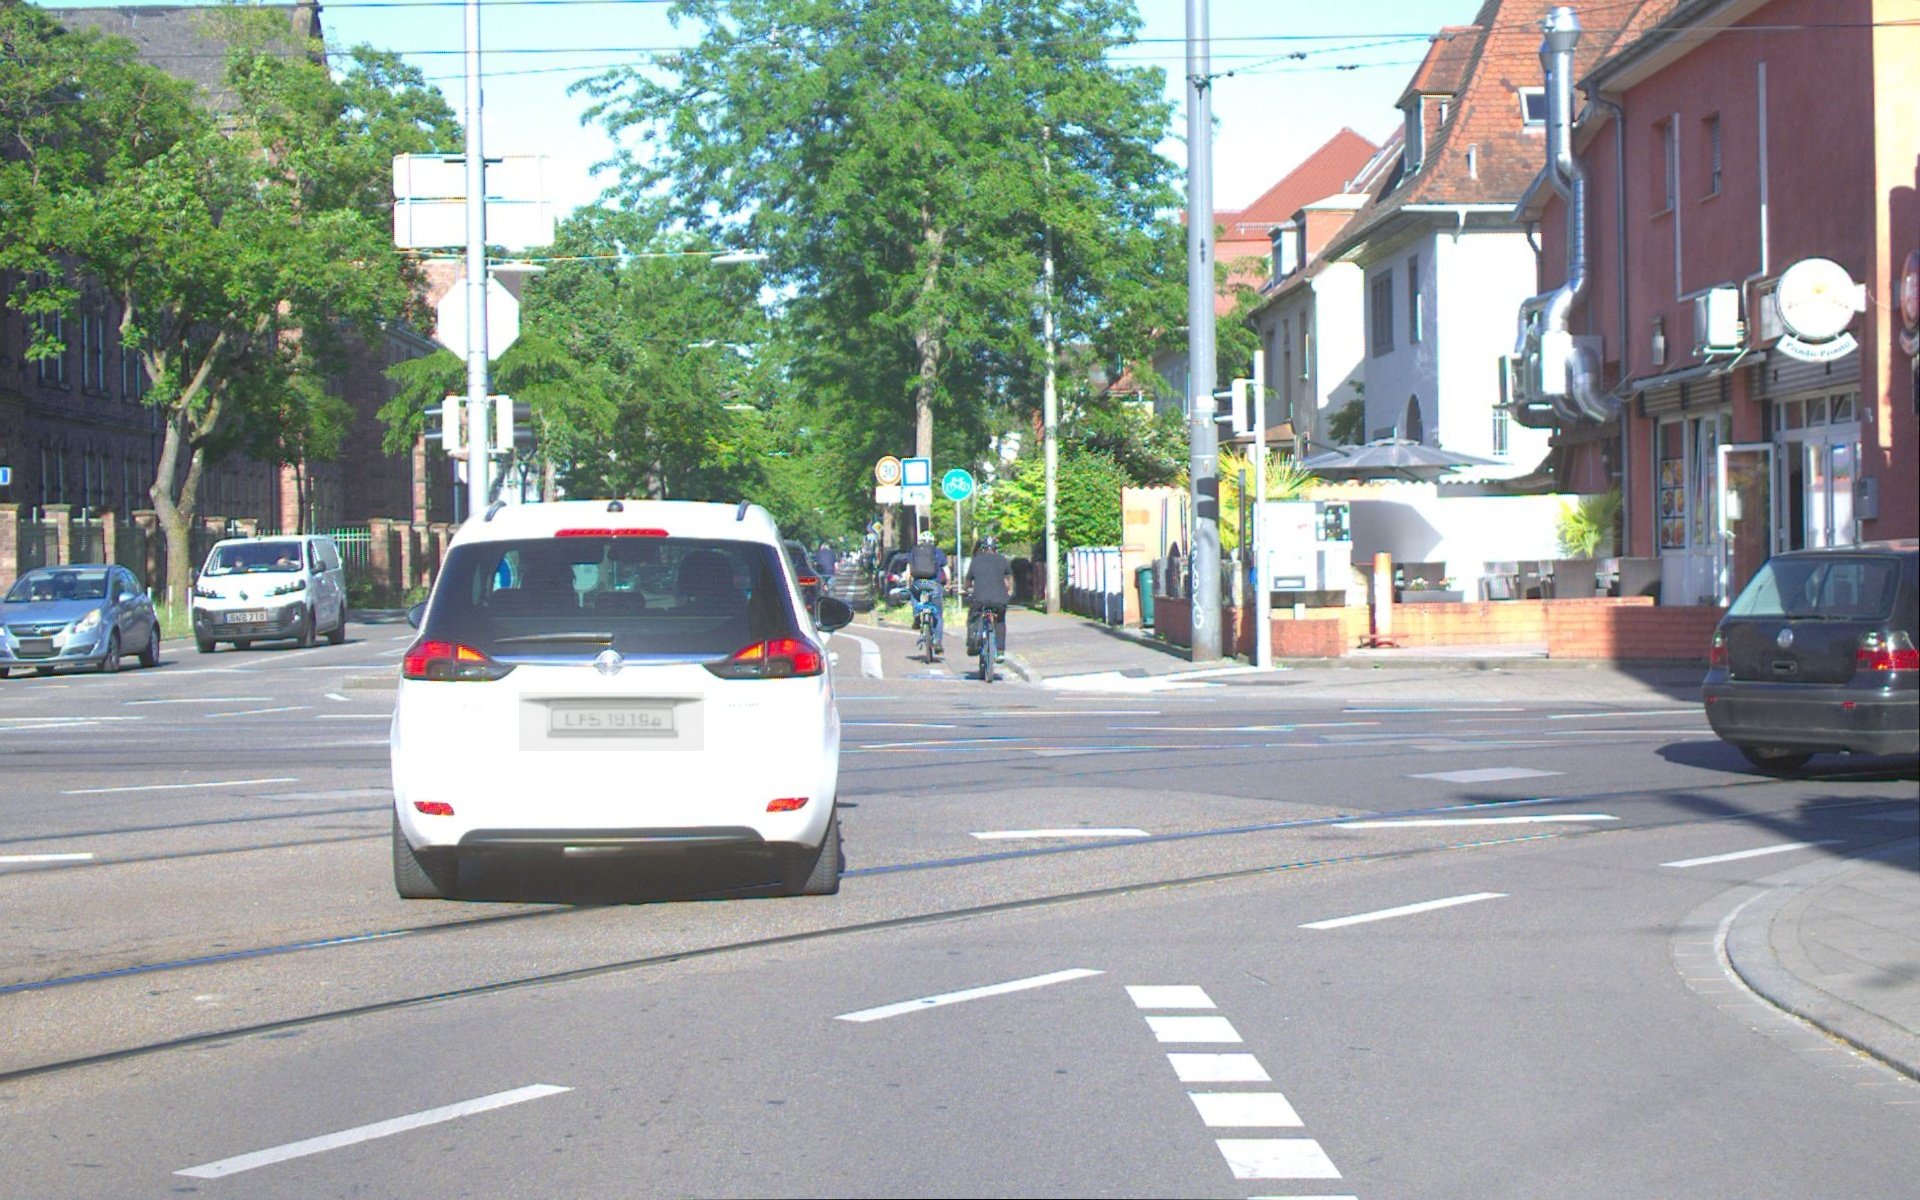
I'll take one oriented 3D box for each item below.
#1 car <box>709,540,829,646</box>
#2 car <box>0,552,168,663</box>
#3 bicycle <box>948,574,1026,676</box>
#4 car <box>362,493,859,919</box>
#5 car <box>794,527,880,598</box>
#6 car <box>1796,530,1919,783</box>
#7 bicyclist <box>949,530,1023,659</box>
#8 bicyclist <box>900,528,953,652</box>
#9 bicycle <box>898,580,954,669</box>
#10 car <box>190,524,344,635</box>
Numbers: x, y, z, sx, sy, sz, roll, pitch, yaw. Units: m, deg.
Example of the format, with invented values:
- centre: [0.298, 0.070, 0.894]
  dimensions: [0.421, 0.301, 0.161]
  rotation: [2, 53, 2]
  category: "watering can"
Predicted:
- centre: [-3.008, -0.128, 54.778]
  dimensions: [1.776, 1.626, 3.881]
  rotation: [0, 1, -1]
  category: "car"
- centre: [-11.915, 0.081, 46.353]
  dimensions: [1.581, 1.436, 3.584]
  rotation: [0, 1, 1]
  category: "car"
- centre: [0.301, 0.281, 40.192]
  dimensions: [0.829, 1.150, 2.095]
  rotation: [0, 1, -2]
  category: "bicycle"
- centre: [-1.402, 0.386, 15.181]
  dimensions: [1.835, 1.636, 3.919]
  rotation: [0, 1, -1]
  category: "car"
- centre: [-2.839, -0.872, 79.953]
  dimensions: [1.776, 1.626, 3.880]
  rotation: [0, 1, 1]
  category: "car"
- centre: [6.224, 0.296, 20.430]
  dimensions: [1.586, 1.415, 3.900]
  rotation: [-1, 1, 1]
  category: "car"
- centre: [0.298, -0.069, 40.214]
  dimensions: [0.821, 1.496, 0.934]
  rotation: [0, 0, -2]
  category: "bicyclist"
- centre: [-0.443, -0.136, 45.907]
  dimensions: [0.685, 1.629, 1.015]
  rotation: [0, 0, 1]
  category: "bicyclist"
- centre: [-0.445, 0.317, 45.855]
  dimensions: [0.685, 1.153, 1.619]
  rotation: [1, 1, 1]
  category: "bicycle"
- centre: [-11.454, -0.355, 57.018]
  dimensions: [1.892, 1.777, 3.881]
  rotation: [0, 1, -2]
  category: "car"
